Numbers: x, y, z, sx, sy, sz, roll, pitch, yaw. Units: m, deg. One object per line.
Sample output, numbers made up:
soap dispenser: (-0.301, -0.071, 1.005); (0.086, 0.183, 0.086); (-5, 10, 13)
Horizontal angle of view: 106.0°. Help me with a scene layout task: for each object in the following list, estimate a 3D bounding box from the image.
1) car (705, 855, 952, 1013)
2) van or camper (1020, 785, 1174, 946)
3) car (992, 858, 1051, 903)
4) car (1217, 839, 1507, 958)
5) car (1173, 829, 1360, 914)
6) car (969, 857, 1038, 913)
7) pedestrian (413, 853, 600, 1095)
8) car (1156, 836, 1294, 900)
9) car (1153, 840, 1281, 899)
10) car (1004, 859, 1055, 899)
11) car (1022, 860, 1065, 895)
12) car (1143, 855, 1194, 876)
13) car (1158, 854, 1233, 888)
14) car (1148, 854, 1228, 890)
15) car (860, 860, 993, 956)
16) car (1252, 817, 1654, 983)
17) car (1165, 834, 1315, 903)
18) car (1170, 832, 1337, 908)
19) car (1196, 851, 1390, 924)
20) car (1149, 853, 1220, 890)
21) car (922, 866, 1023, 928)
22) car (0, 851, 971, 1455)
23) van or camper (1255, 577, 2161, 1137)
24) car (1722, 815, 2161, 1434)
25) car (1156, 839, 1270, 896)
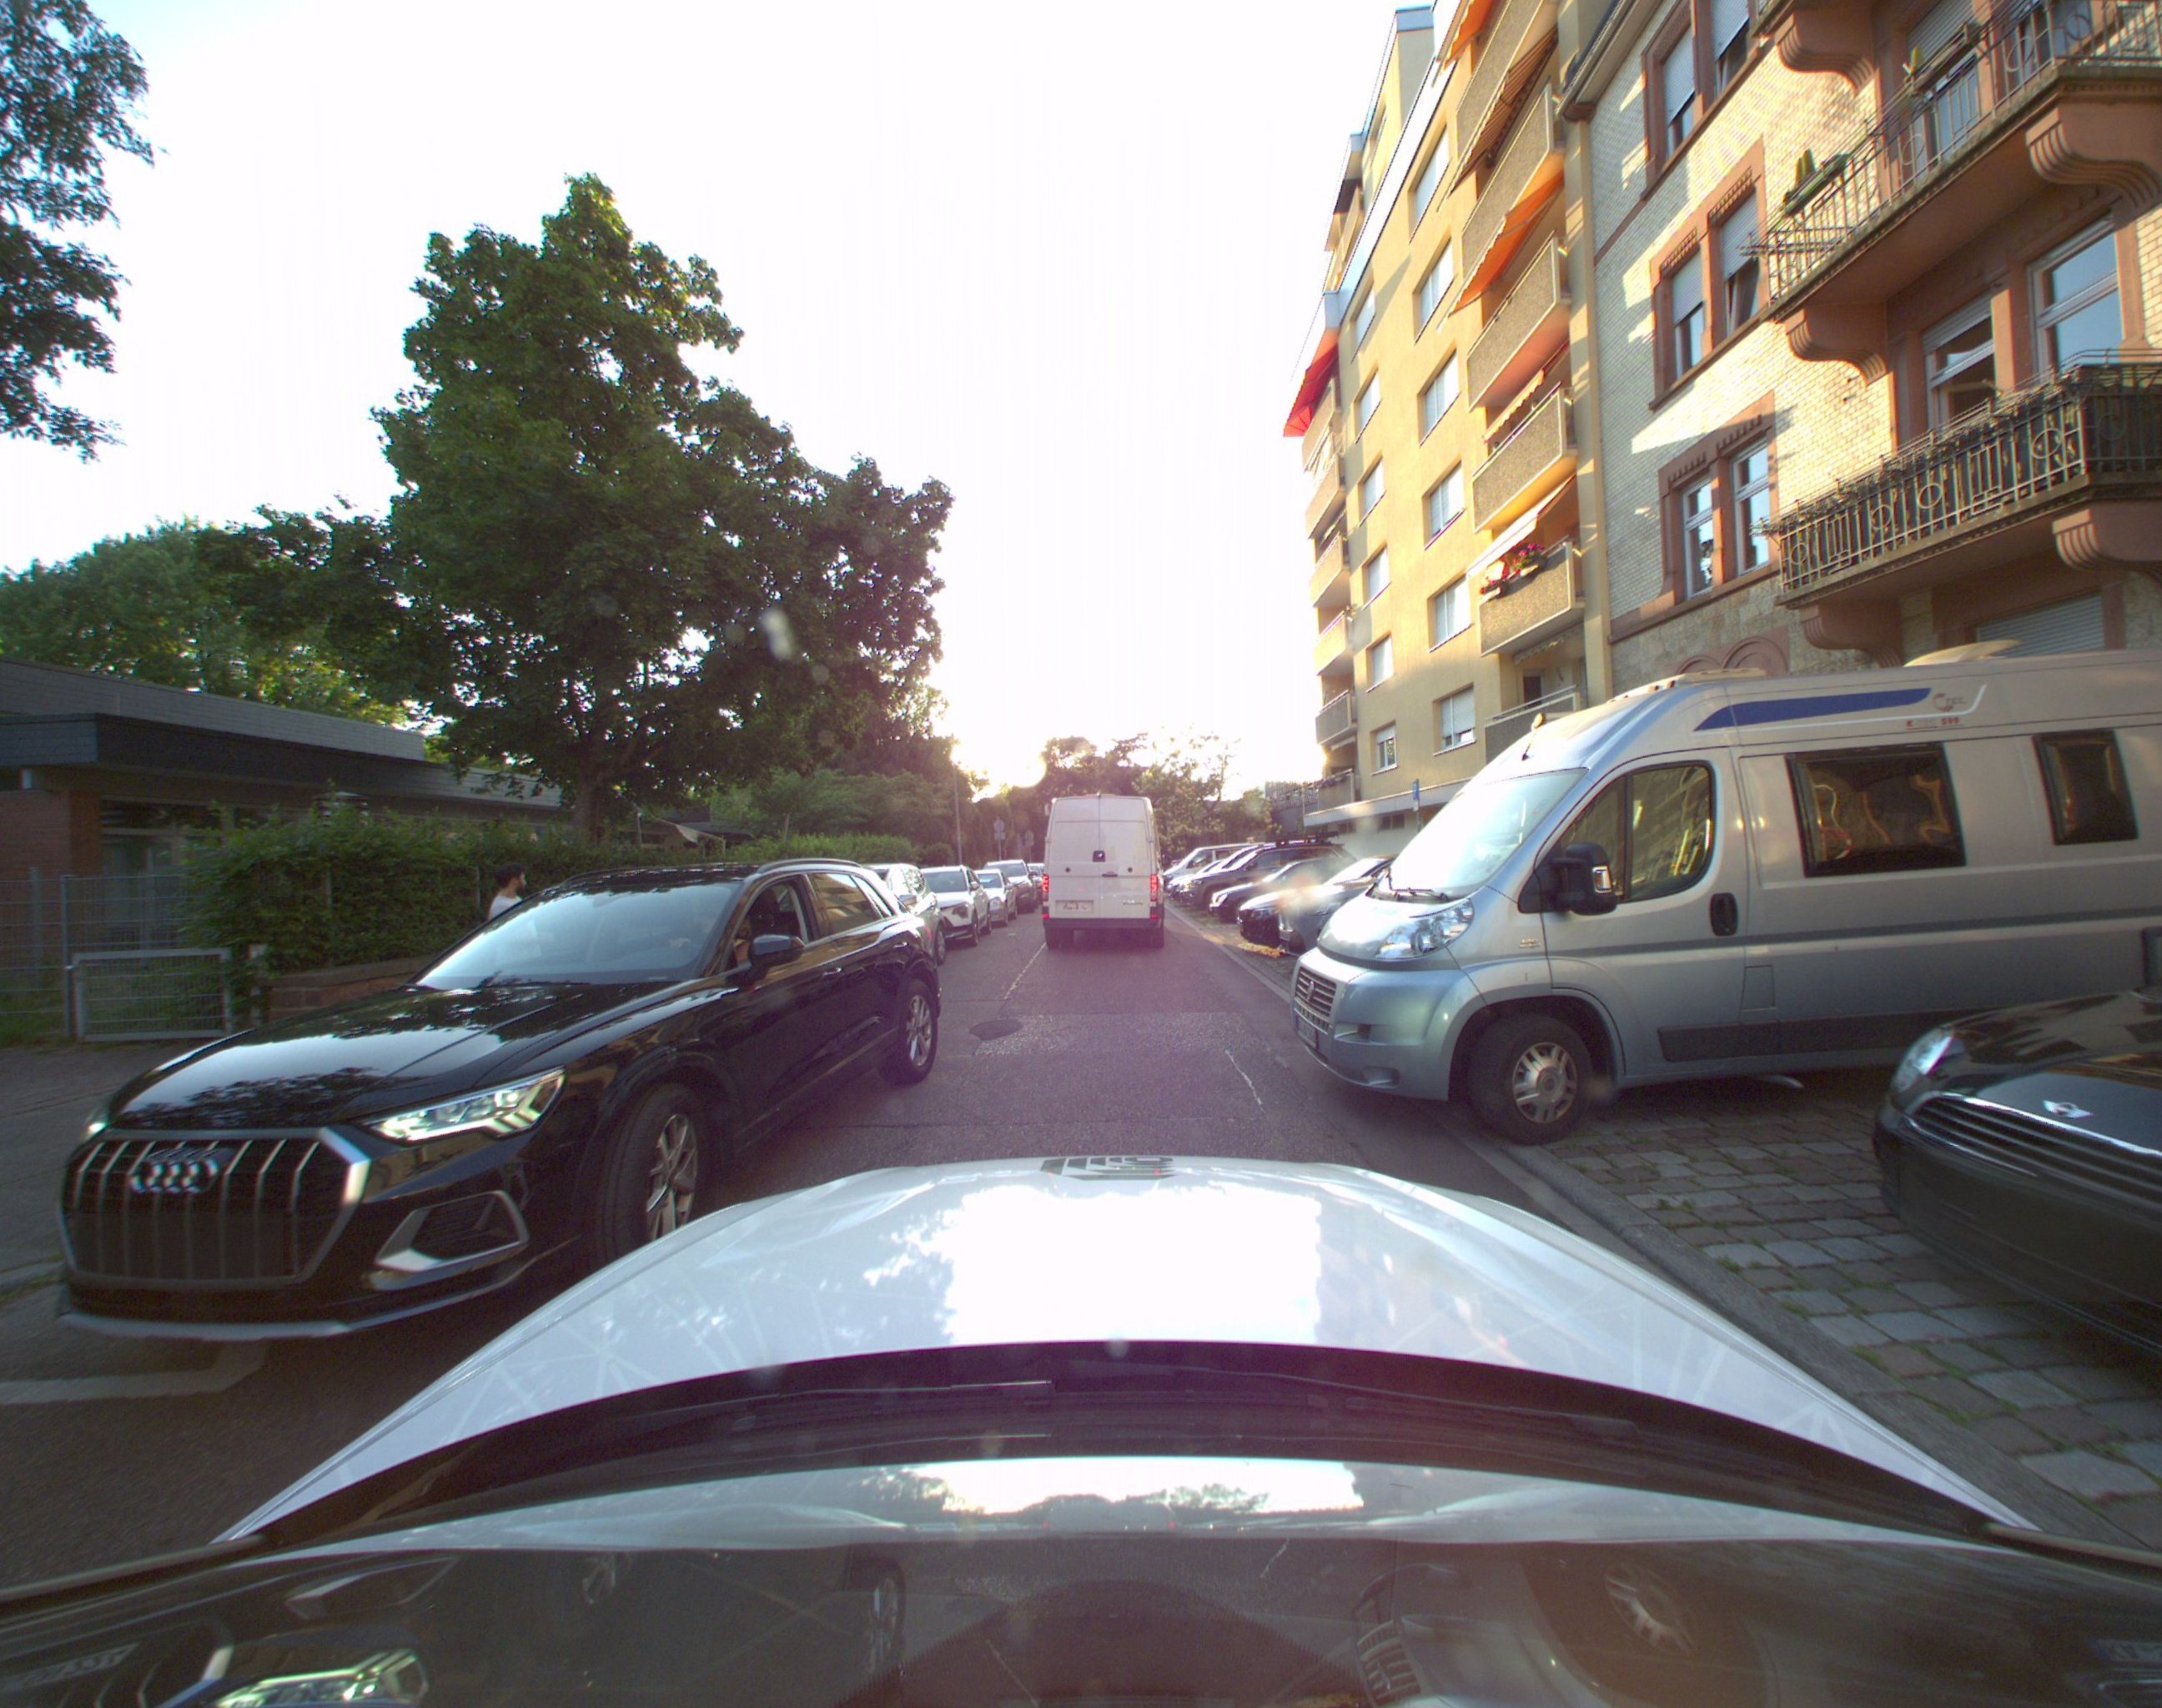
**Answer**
car: (-3.133, 0.906, 11.059); (1.775, 1.631, 4.004); (-4, -1, 4)
van or camper: (0.501, 0.204, 16.000); (2.442, 2.547, 6.091); (0, 0, 5)
car: (-2.249, 0.977, 31.811); (1.987, 1.618, 3.999); (-1, 0, 0)
car: (4.410, 0.678, 13.216); (3.978, 1.454, 1.833); (-5, 0, -3)
car: (5.001, 0.459, 22.481); (4.691, 2.145, 2.000); (-1, 0, 0)
car: (-2.446, 0.951, 26.604); (1.989, 1.662, 3.996); (-1, 0, -2)
pedestrian: (-4.642, 0.921, 6.637); (0.934, 1.830, 0.787); (-1, -1, 0)
car: (5.191, 0.500, 29.797); (4.691, 2.145, 2.000); (-1, 0, 0)
car: (5.308, 0.611, 32.241); (4.691, 2.145, 2.000); (-1, 0, 0)
car: (-2.221, 1.048, 36.124); (1.987, 1.618, 3.999); (-1, 0, 0)
car: (-1.868, 1.168, 41.838); (1.987, 1.618, 3.999); (-1, 0, 0)
car: (7.250, 0.947, 67.584); (3.977, 1.618, 1.998); (-1, -1, -2)
car: (6.314, 0.941, 45.315); (3.971, 1.728, 2.001); (-1, -1, 2)
car: (5.501, 0.927, 42.293); (3.971, 1.728, 2.001); (-1, -1, 2)
car: (-2.914, 0.963, 16.287); (1.851, 1.555, 4.097); (-4, 0, -1)
car: (4.699, 0.535, 10.647); (4.427, 1.728, 1.769); (-3, 0, -5)
car: (5.285, 0.487, 27.562); (4.691, 2.145, 2.000); (-1, 0, 0)
car: (5.222, 0.473, 25.134); (4.691, 2.145, 2.000); (-1, 0, 0)
car: (5.046, 0.777, 19.807); (4.222, 1.425, 1.719); (-4, -1, 1)
car: (5.982, 0.994, 47.644); (3.970, 2.014, 2.002); (-1, -1, 3)
car: (-2.711, 1.051, 21.345); (1.986, 1.398, 4.001); (-1, 0, 1)
car: (-2.184, 0.827, 4.513); (1.793, 1.569, 4.577); (-3, -1, 9)
van or camper: (4.300, 0.001, 5.202); (5.908, 2.770, 2.110); (-1, -1, 0)
car: (4.568, 0.537, 2.324); (3.919, 1.486, 1.788); (-5, -2, 2)
car: (5.498, 0.559, 34.424); (4.480, 2.230, 2.032); (-1, -1, 1)
